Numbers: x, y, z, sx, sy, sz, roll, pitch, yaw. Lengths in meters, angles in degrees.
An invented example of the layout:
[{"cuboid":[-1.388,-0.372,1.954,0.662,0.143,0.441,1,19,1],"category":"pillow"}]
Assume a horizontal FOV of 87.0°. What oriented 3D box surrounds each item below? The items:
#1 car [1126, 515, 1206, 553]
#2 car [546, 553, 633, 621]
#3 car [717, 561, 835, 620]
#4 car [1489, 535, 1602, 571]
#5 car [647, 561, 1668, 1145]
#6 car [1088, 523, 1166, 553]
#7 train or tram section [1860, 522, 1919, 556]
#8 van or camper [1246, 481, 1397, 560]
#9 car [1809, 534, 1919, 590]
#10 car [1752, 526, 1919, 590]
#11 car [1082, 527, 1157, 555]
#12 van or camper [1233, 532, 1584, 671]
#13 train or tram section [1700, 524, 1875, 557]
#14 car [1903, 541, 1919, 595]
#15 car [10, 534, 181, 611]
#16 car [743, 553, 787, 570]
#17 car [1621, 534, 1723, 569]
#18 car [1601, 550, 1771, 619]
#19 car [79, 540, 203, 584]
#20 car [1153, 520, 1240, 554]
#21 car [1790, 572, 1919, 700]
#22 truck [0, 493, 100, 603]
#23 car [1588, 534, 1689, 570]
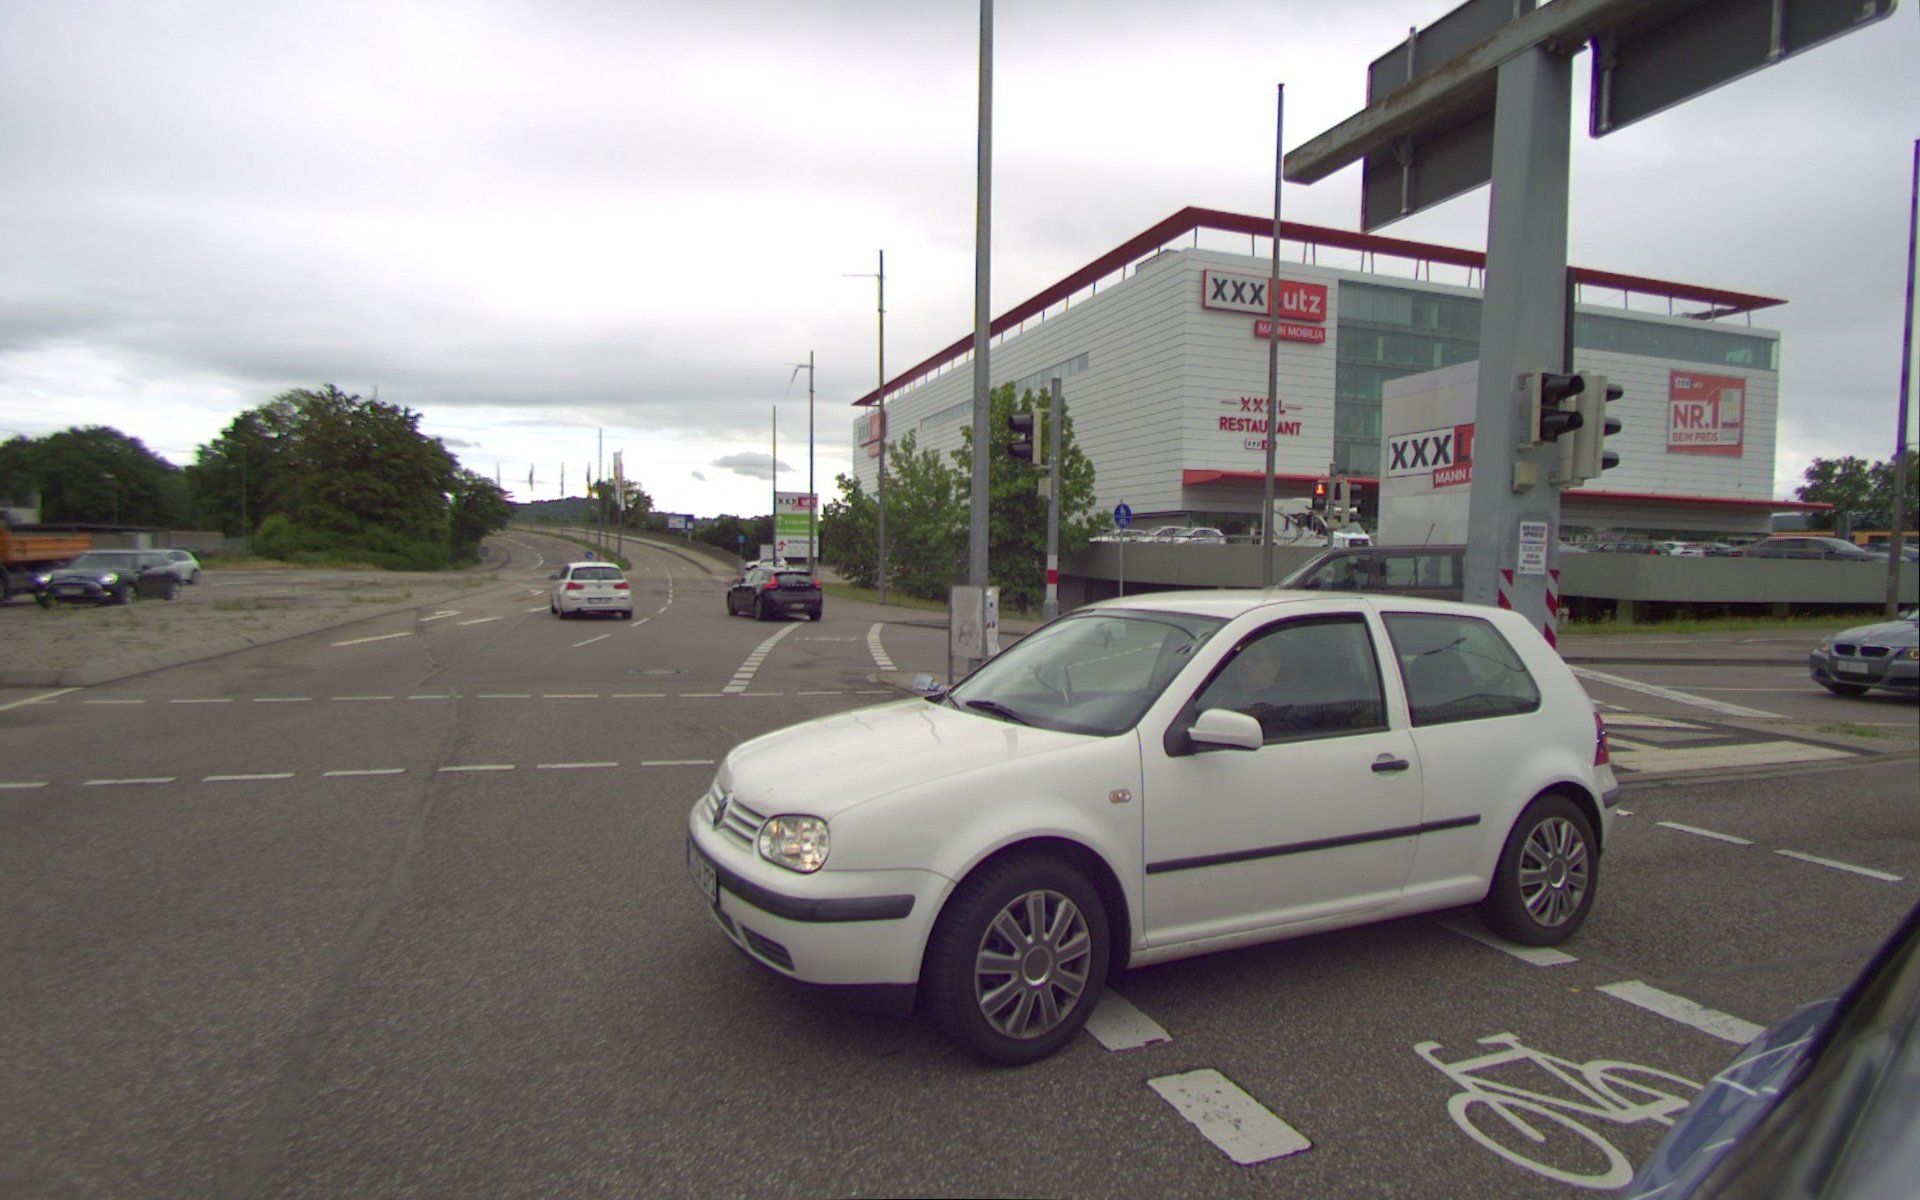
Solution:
[{"cuboid":[11.647,-3.709,57.336,3.916,2.039,2.004,-1,1,-16],"category":"car"},{"cuboid":[-9.740,-0.404,26.433,1.797,1.427,4.209,0,5,-25],"category":"car"},{"cuboid":[-5.129,-0.278,27.729,1.867,1.467,4.185,1,0,-30],"category":"car"},{"cuboid":[25.345,-2.030,43.941,1.831,1.455,4.002,-1,1,-21],"category":"car"},{"cuboid":[0.840,0.615,4.305,3.922,1.496,1.842,-1,1,-25],"category":"car"},{"cuboid":[9.820,-3.663,59.652,4.170,1.696,1.781,-1,1,-18],"category":"car"},{"cuboid":[141.807,-8.741,142.547,3.557,4.897,23.341,-1,2,-21],"category":"train or tram section"},{"cuboid":[16.420,-3.510,46.543,2.658,3.174,7.252,-1,1,-18],"category":"van or camper"},{"cuboid":[33.049,-1.338,35.925,1.958,1.872,4.009,-1,1,-20],"category":"car"},{"cuboid":[30.348,-1.418,34.787,1.958,2.038,4.542,-1,1,-20],"category":"car"},{"cuboid":[9.892,-3.663,62.788,4.170,1.696,1.781,-1,1,-18],"category":"car"},{"cuboid":[7.034,-0.030,16.512,4.869,2.038,2.156,1,1,14],"category":"van or camper"},{"cuboid":[133.420,-9.534,164.257,3.557,4.897,23.341,-1,2,-21],"category":"train or tram section"},{"cuboid":[38.007,-1.216,37.517,1.958,2.038,4.009,-1,1,-20],"category":"car"},{"cuboid":[-22.047,-0.707,26.049,1.958,1.791,4.431,-1,1,-21],"category":"car"},{"cuboid":[-19.237,-3.761,99.827,4.110,1.630,1.726,-1,1,-13],"category":"car"},{"cuboid":[37.707,-2.547,53.683,1.958,1.760,4.009,-1,1,-20],"category":"car"},{"cuboid":[22.965,-0.508,32.204,1.958,2.038,4.009,-1,1,-19],"category":"car"},{"cuboid":[-33.131,-1.520,41.107,1.959,1.678,4.368,-1,1,-9],"category":"car"},{"cuboid":[12.591,-3.359,53.881,4.170,1.696,1.781,-1,1,-18],"category":"car"},{"cuboid":[13.058,0.430,12.159,4.781,1.429,1.819,1,1,-4],"category":"car"},{"cuboid":[-25.213,-1.264,25.828,2.762,2.671,6.689,-1,1,-20],"category":"truck"},{"cuboid":[35.273,-2.486,52.725,1.958,1.760,4.009,-1,1,-20],"category":"car"}]
